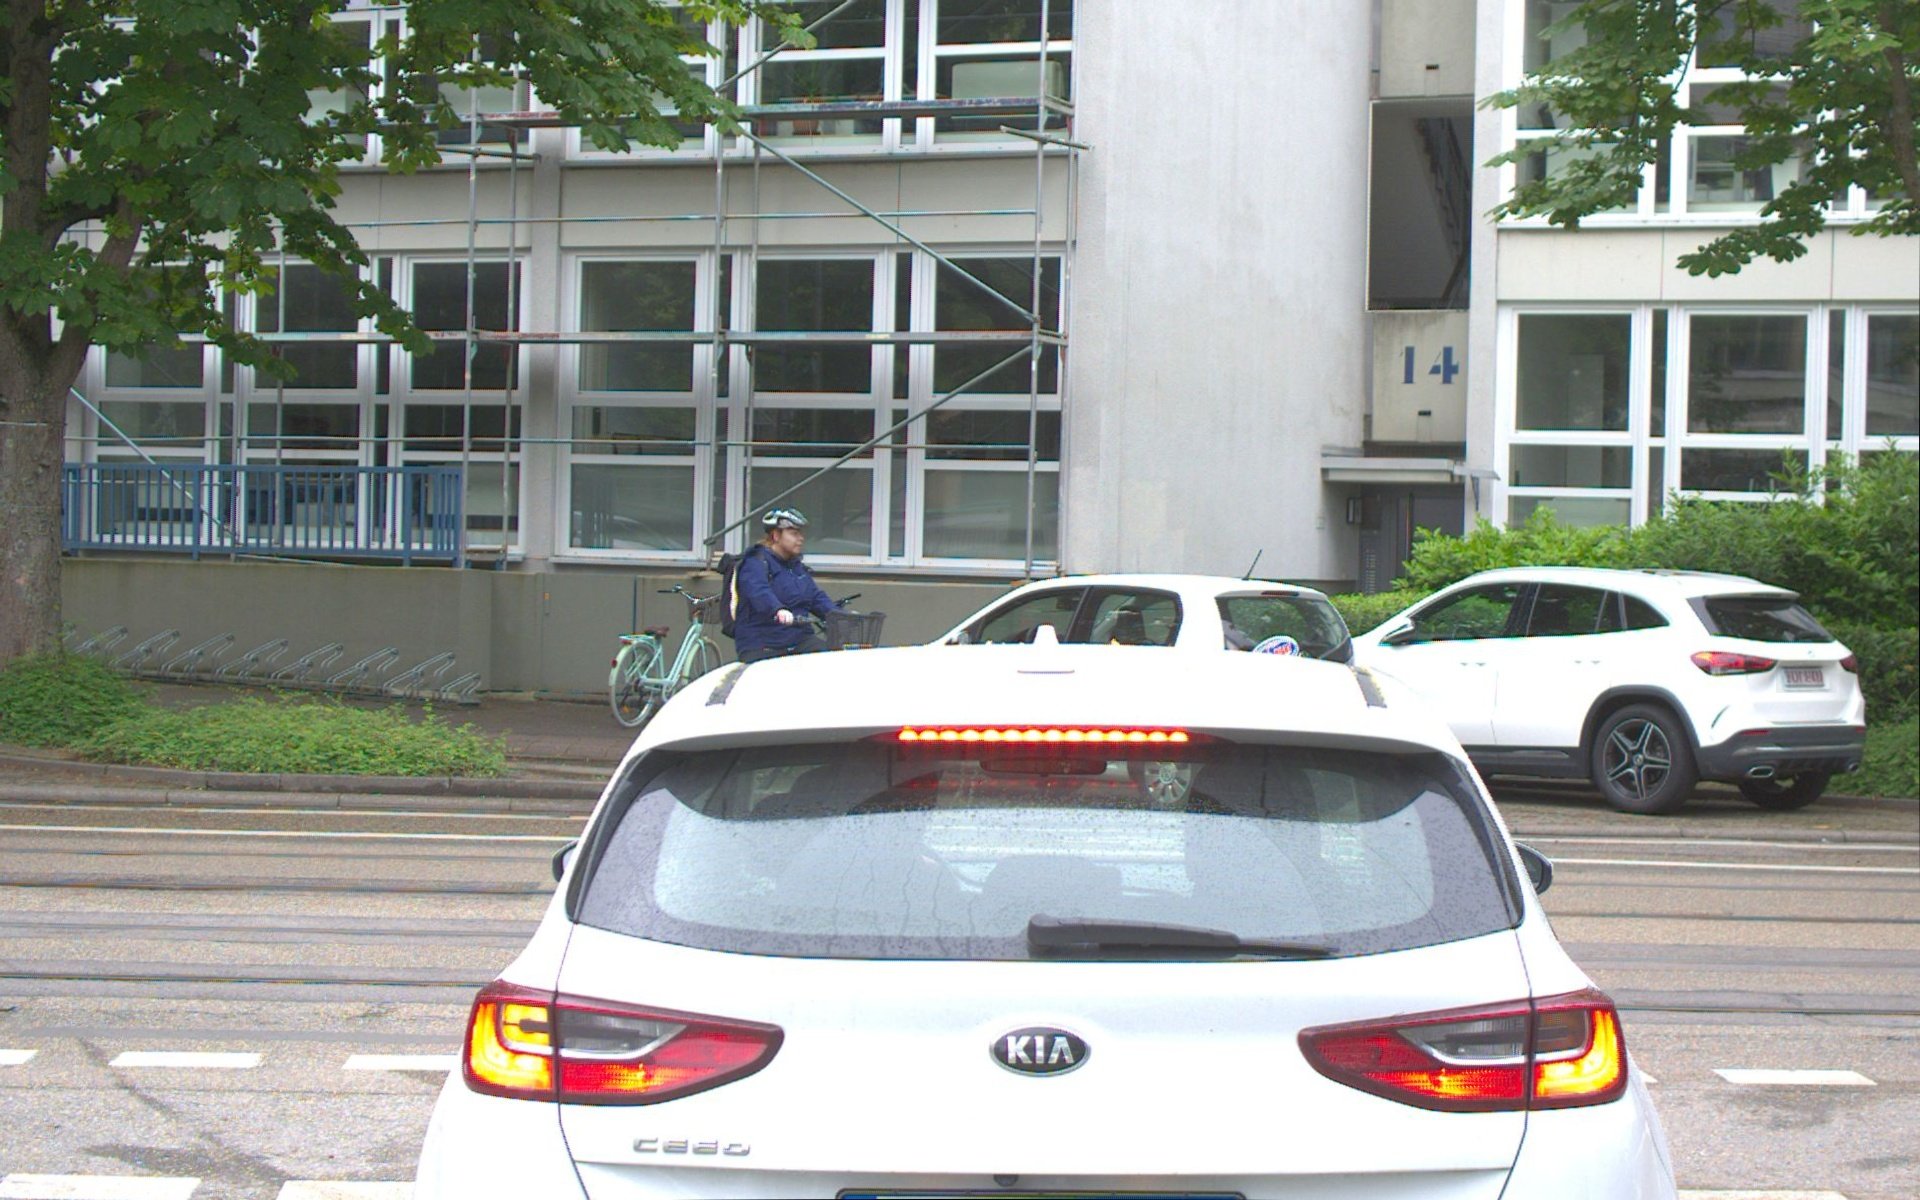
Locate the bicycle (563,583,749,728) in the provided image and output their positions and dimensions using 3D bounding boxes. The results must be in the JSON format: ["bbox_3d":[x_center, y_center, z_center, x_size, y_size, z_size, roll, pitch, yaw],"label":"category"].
[{"bbox_3d":[-2.547,0.443,29.106,0.645,1.071,2.310,2,3,20],"label":"bicycle"}]

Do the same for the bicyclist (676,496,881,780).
[{"bbox_3d":[-1.121,0.224,21.204,0.896,1.692,0.832,2,1,45],"label":"bicyclist"}]

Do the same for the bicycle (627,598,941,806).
[{"bbox_3d":[-1.102,0.602,21.156,1.914,1.170,0.819,2,1,44],"label":"bicycle"}]

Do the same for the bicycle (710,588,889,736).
[{"bbox_3d":[-1.311,0.490,28.626,0.645,1.071,2.310,2,3,20],"label":"bicycle"}]

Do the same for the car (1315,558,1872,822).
[{"bbox_3d":[4.212,0.550,23.154,1.552,1.612,3.406,0,1,-44],"label":"car"}]

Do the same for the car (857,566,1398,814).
[{"bbox_3d":[1.048,0.537,22.665,1.552,1.468,3.406,0,1,-44],"label":"car"}]

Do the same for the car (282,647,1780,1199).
[{"bbox_3d":[0.162,0.817,6.074,1.775,1.428,3.978,1,0,3],"label":"car"}]
